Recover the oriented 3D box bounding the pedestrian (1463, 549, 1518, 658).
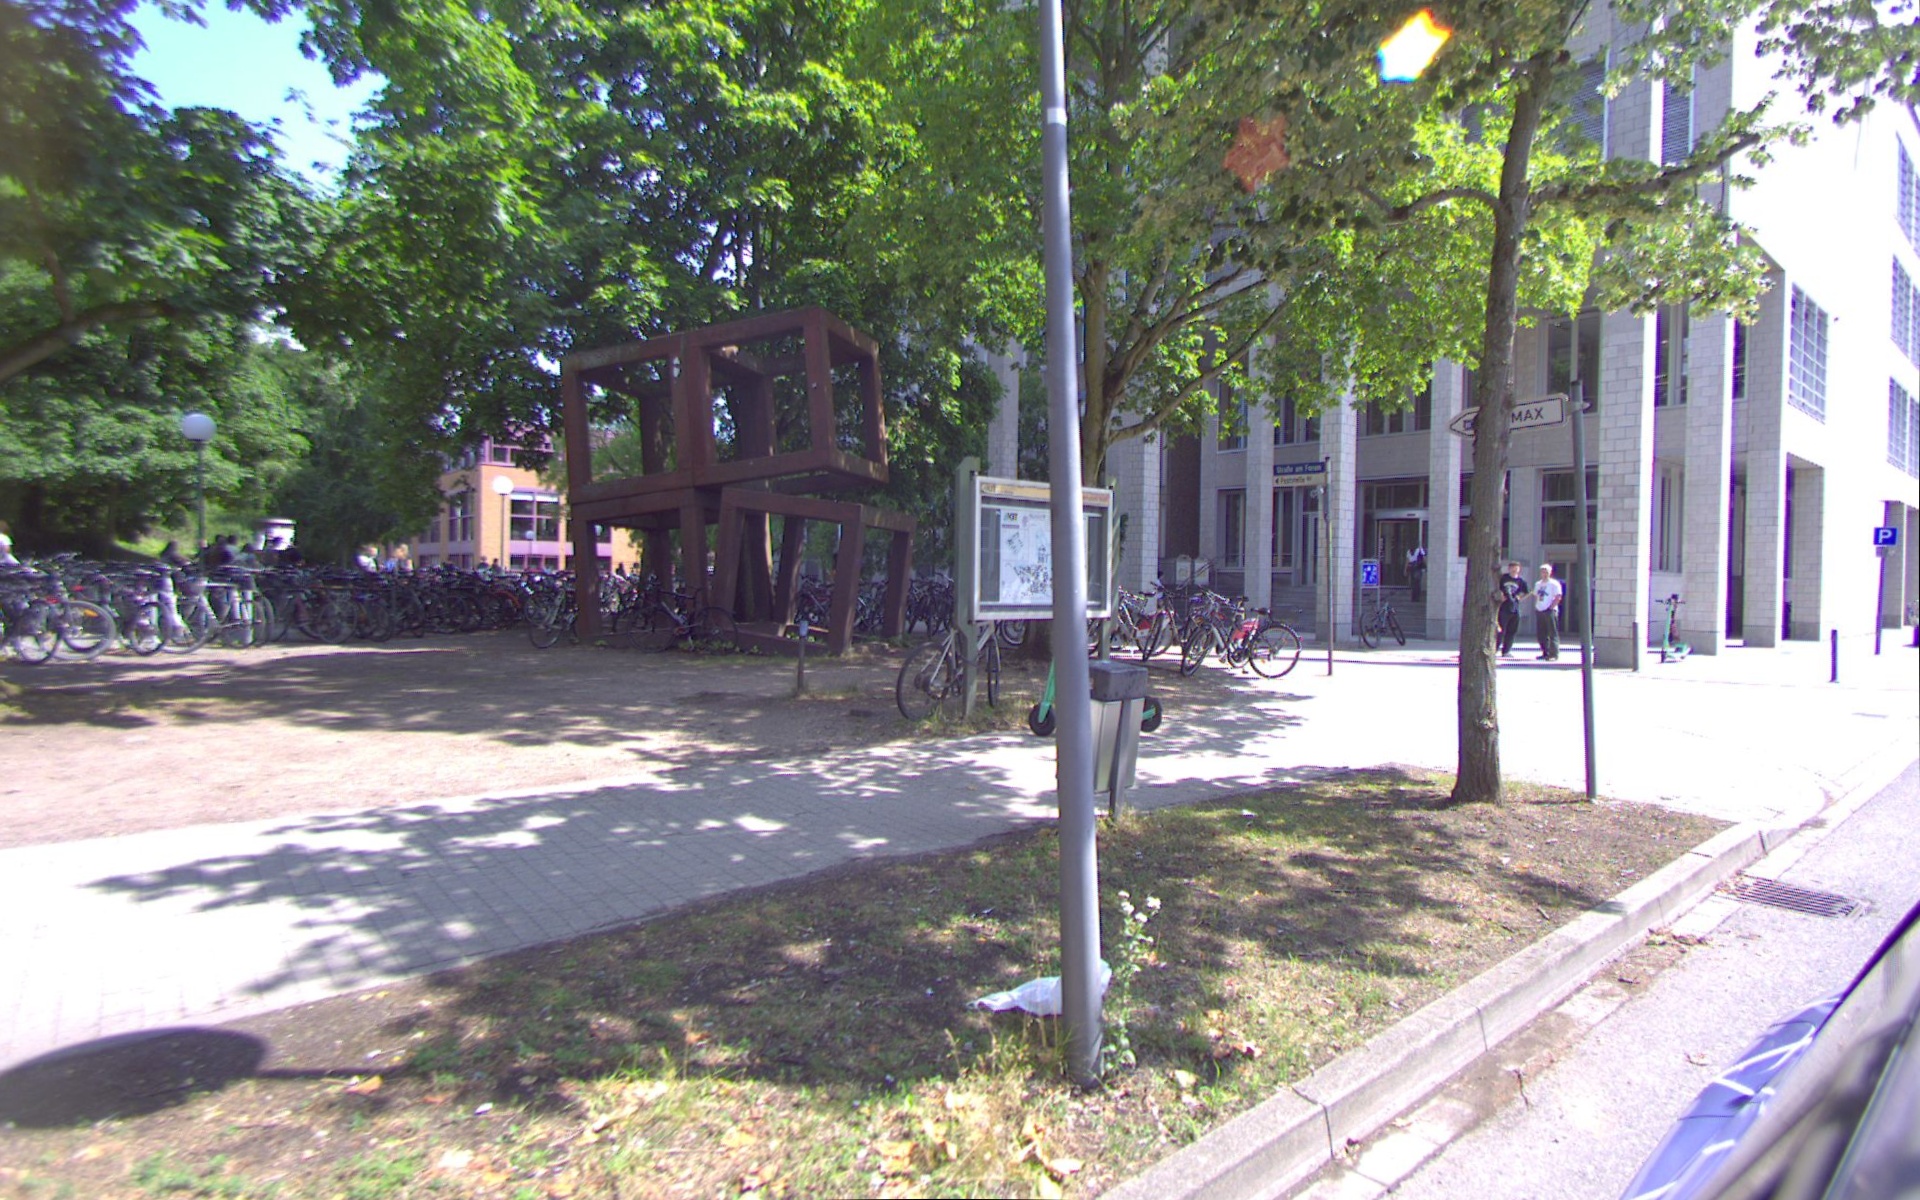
[{"bbox_3d":[9.554,0.050,18.223,0.675,1.914,0.686,-1,2,-43],"label":"pedestrian"}]

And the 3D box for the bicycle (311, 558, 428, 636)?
[{"bbox_3d":[-9.572,-0.058,16.402,1.816,1.185,0.412,2,1,12],"label":"bicycle"}]

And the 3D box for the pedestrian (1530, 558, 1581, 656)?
[{"bbox_3d":[10.881,0.114,18.504,0.533,1.750,0.614,0,2,-39],"label":"pedestrian"}]

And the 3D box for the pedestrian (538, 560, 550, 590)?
[{"bbox_3d":[-17.758,-1.070,43.207,0.379,1.227,0.403,1,1,-32],"label":"pedestrian"}]

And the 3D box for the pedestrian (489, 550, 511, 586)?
[{"bbox_3d":[-20.358,-1.416,44.767,0.679,1.530,0.514,4,3,7],"label":"pedestrian"}]

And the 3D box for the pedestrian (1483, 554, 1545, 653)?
[{"bbox_3d":[10.406,0.046,19.027,0.796,1.819,0.619,1,1,7],"label":"pedestrian"}]

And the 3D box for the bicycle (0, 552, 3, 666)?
[{"bbox_3d":[-10.927,0.074,10.463,1.811,1.185,0.345,2,1,3],"label":"bicycle"}]

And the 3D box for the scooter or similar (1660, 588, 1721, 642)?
[{"bbox_3d":[17.901,0.348,24.835,0.556,1.226,1.507,0,3,9],"label":"scooter or similar"}]

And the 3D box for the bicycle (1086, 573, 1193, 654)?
[{"bbox_3d":[2.739,0.207,15.403,1.494,1.155,0.493,3,1,-21],"label":"bicycle"}]

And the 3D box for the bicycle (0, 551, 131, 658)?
[{"bbox_3d":[-10.695,0.036,11.975,1.818,1.185,0.344,2,1,14],"label":"bicycle"}]

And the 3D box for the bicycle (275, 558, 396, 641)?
[{"bbox_3d":[-9.432,-0.020,15.274,1.818,1.185,0.387,2,1,14],"label":"bicycle"}]

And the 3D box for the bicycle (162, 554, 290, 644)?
[{"bbox_3d":[-10.294,-0.023,14.187,1.818,1.185,0.351,2,1,14],"label":"bicycle"}]

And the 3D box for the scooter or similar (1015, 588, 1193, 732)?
[{"bbox_3d":[1.200,0.494,8.461,1.333,1.128,0.498,2,1,-15],"label":"scooter or similar"}]

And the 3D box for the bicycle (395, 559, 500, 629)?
[{"bbox_3d":[-9.229,-0.120,18.240,1.816,1.185,0.412,2,1,12],"label":"bicycle"}]

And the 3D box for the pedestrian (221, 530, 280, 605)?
[{"bbox_3d":[-17.638,-0.800,25.170,0.824,1.797,0.994,2,1,-10],"label":"pedestrian"}]

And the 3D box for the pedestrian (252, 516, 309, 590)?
[{"bbox_3d":[-16.953,-1.173,25.267,0.838,1.797,0.812,2,1,-1],"label":"pedestrian"}]

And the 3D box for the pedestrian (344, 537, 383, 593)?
[{"bbox_3d":[-17.471,-1.021,29.652,0.730,1.589,0.721,2,1,-3],"label":"pedestrian"}]

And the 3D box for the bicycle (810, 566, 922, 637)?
[{"bbox_3d":[-1.543,0.030,16.808,1.791,1.091,0.464,2,2,-33],"label":"bicycle"}]

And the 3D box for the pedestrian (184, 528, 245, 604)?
[{"bbox_3d":[-18.410,-0.839,25.006,0.824,1.797,0.994,2,1,-10],"label":"pedestrian"}]

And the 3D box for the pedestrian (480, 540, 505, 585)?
[{"bbox_3d":[-17.114,-1.377,37.038,0.730,1.589,0.721,1,1,-32],"label":"pedestrian"}]

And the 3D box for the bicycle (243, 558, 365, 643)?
[{"bbox_3d":[-9.688,-0.005,14.943,1.818,1.185,0.351,2,1,14],"label":"bicycle"}]

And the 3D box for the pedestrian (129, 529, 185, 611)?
[{"bbox_3d":[-18.109,-0.669,22.825,0.729,1.797,0.722,2,1,-15],"label":"pedestrian"}]

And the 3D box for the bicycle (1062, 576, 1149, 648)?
[{"bbox_3d":[2.349,0.196,16.273,1.447,1.099,0.460,2,2,-39],"label":"bicycle"}]

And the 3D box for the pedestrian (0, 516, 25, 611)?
[{"bbox_3d":[-18.515,-0.703,19.277,0.730,1.797,0.721,2,1,-2],"label":"pedestrian"}]

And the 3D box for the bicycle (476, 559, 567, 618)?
[{"bbox_3d":[-9.229,-0.243,21.296,1.813,1.185,0.345,2,1,6],"label":"bicycle"}]

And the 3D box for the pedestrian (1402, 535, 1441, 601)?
[{"bbox_3d":[12.424,-0.858,27.240,0.673,1.756,0.689,0,1,-38],"label":"pedestrian"}]

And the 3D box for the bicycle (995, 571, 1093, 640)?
[{"bbox_3d":[1.434,0.100,17.135,1.664,1.099,0.482,2,2,-35],"label":"bicycle"}]

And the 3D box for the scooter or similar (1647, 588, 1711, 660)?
[{"bbox_3d":[13.206,0.413,18.568,1.484,1.226,0.564,-1,4,-42],"label":"scooter or similar"}]

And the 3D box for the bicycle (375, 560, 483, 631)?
[{"bbox_3d":[-9.316,-0.090,17.752,1.816,1.185,0.412,2,1,12],"label":"bicycle"}]

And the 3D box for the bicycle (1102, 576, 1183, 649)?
[{"bbox_3d":[2.923,0.207,16.142,1.416,1.099,0.460,2,2,-43],"label":"bicycle"}]

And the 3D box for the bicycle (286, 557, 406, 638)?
[{"bbox_3d":[-9.575,-0.052,15.775,1.816,1.185,0.387,2,1,12],"label":"bicycle"}]

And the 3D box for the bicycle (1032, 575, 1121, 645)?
[{"bbox_3d":[1.957,0.174,16.939,1.486,1.099,0.482,2,2,-35],"label":"bicycle"}]

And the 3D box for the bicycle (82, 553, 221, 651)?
[{"bbox_3d":[-10.419,0.014,13.036,1.818,1.185,0.351,2,1,14],"label":"bicycle"}]

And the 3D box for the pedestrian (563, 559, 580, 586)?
[{"bbox_3d":[-23.638,-1.690,61.648,0.714,1.530,1.210,3,3,-11],"label":"pedestrian"}]

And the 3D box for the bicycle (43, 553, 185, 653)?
[{"bbox_3d":[-10.620,0.024,12.701,1.818,1.185,0.351,2,1,14],"label":"bicycle"}]

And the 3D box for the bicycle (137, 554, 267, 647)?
[{"bbox_3d":[-10.369,-0.008,13.837,1.818,1.185,0.351,2,1,14],"label":"bicycle"}]

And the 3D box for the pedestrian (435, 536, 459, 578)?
[{"bbox_3d":[-20.004,-1.678,39.452,0.730,1.589,0.721,1,1,-32],"label":"pedestrian"}]

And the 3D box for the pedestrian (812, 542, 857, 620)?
[{"bbox_3d":[-2.839,-0.428,22.913,0.929,1.724,0.427,1,0,-45],"label":"pedestrian"}]

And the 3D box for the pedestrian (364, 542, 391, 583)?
[{"bbox_3d":[-22.256,-1.436,38.676,0.679,1.530,0.514,4,3,7],"label":"pedestrian"}]

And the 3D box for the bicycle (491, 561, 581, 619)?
[{"bbox_3d":[-9.055,-0.218,21.629,1.813,1.185,0.345,2,1,6],"label":"bicycle"}]

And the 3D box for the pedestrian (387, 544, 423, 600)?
[{"bbox_3d":[-18.362,-0.919,33.509,0.732,1.812,0.720,2,1,6],"label":"pedestrian"}]

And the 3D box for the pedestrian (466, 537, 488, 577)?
[{"bbox_3d":[-19.676,-1.742,41.232,0.730,1.589,0.721,1,1,-32],"label":"pedestrian"}]

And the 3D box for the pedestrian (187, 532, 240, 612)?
[{"bbox_3d":[-17.109,-0.639,23.204,0.729,1.797,0.722,2,1,-15],"label":"pedestrian"}]

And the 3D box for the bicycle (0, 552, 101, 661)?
[{"bbox_3d":[-10.772,0.050,11.647,1.818,1.185,0.344,2,1,14],"label":"bicycle"}]

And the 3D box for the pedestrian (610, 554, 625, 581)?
[{"bbox_3d":[-18.825,-1.767,55.622,0.445,1.446,0.593,4,3,12],"label":"pedestrian"}]

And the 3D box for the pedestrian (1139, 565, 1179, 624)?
[{"bbox_3d":[6.056,-0.166,30.853,0.734,1.762,0.938,0,1,-32],"label":"pedestrian"}]

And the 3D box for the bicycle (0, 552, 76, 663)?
[{"bbox_3d":[-10.815,0.059,11.368,1.817,1.185,0.344,2,1,13],"label":"bicycle"}]

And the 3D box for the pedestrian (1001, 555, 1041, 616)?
[{"bbox_3d":[1.767,-0.429,29.412,0.930,1.762,0.741,1,1,31],"label":"pedestrian"}]

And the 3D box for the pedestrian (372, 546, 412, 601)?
[{"bbox_3d":[-16.649,-0.778,29.678,0.731,1.589,0.721,2,1,2],"label":"pedestrian"}]
